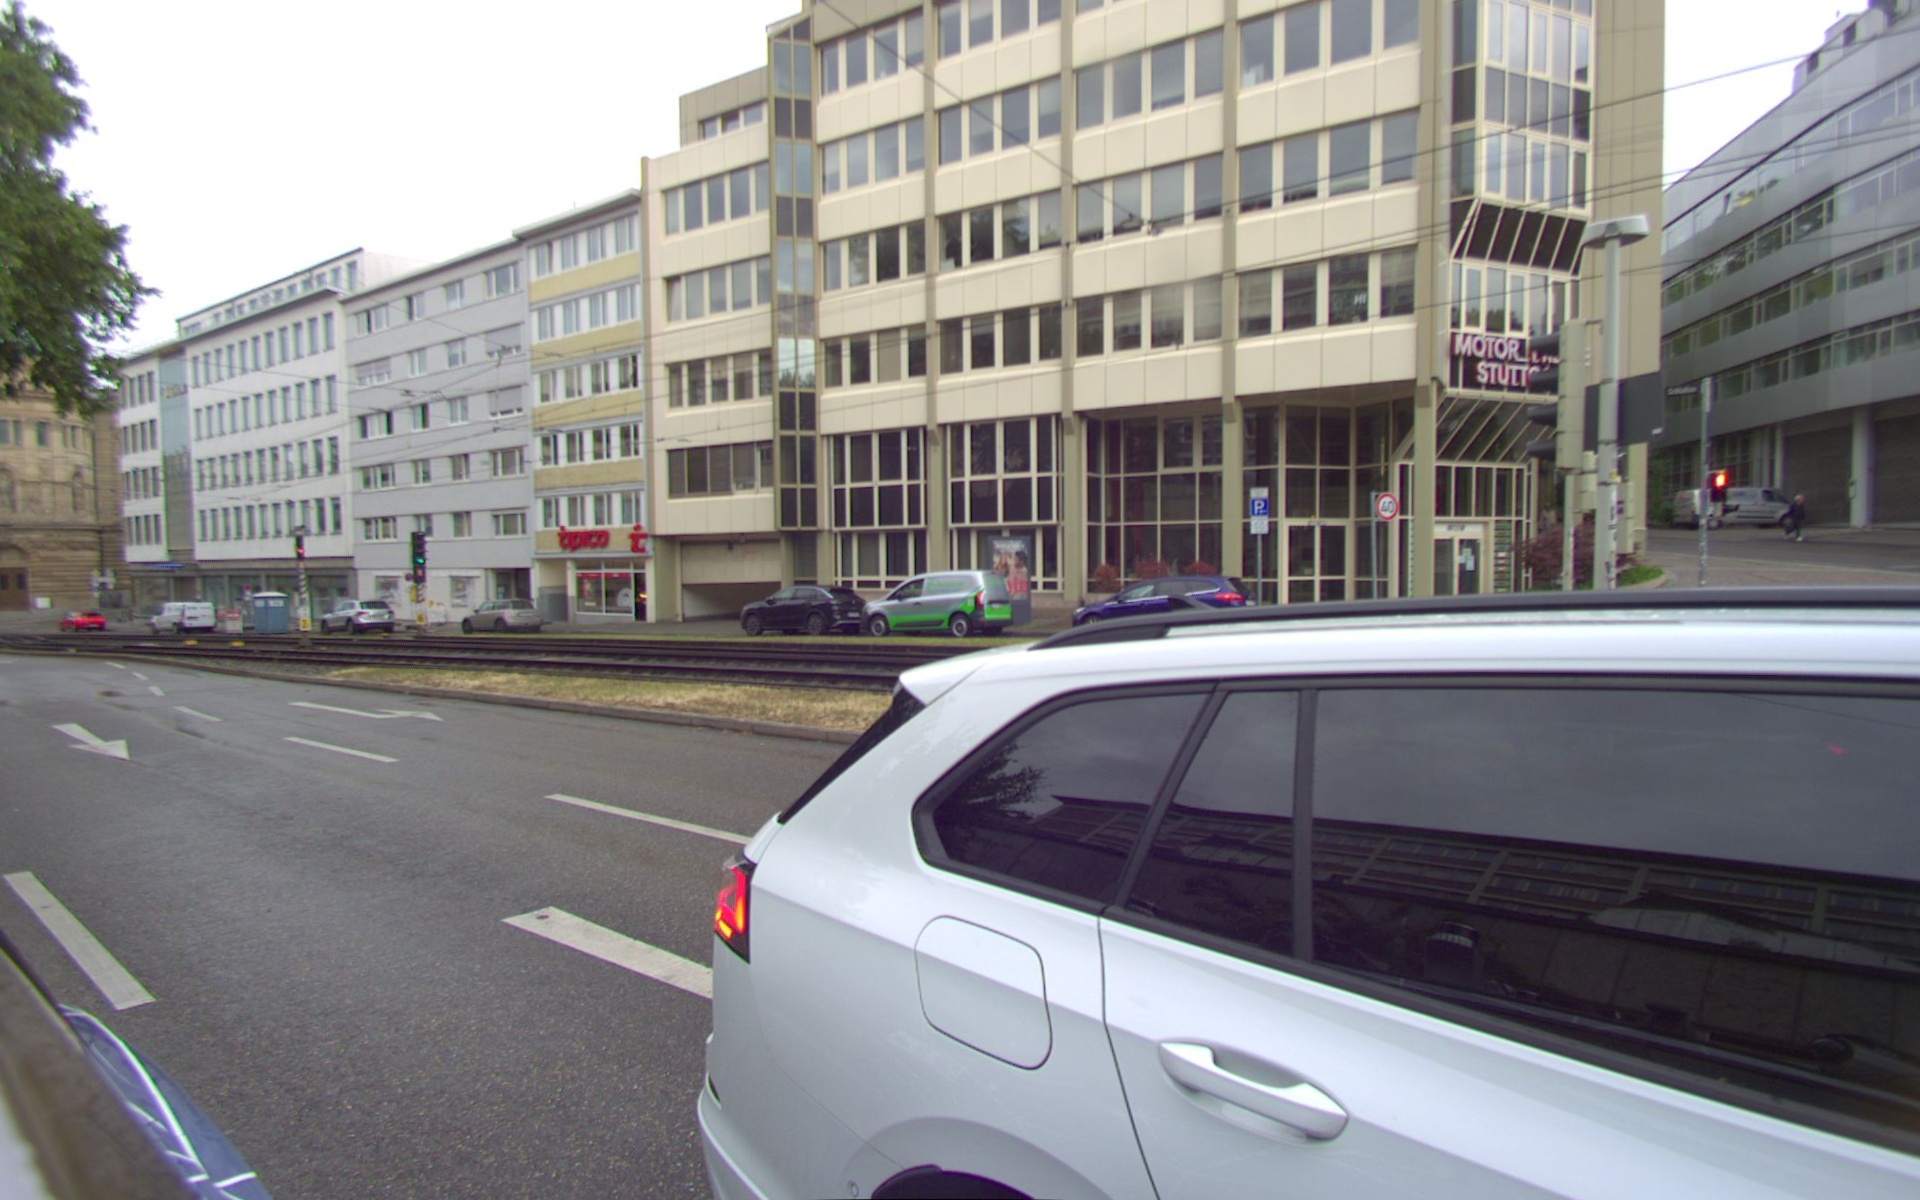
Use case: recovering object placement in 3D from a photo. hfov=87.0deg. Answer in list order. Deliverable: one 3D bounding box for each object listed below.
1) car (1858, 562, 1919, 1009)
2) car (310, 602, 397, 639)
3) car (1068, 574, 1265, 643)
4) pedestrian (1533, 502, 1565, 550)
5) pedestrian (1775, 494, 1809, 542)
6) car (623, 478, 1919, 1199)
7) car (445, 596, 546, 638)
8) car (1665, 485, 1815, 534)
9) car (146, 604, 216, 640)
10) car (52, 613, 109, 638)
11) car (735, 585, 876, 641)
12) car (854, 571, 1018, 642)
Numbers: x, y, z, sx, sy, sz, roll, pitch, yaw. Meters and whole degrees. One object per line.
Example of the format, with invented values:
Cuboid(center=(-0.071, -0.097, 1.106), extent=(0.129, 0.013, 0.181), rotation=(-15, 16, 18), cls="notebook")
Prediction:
Cuboid(center=(5.297, 0.575, 2.560), extent=(4.473, 1.453, 1.777), rotation=(-1, 0, 41), cls="car")
Cuboid(center=(-28.315, 0.947, 47.210), extent=(4.066, 1.524, 1.869), rotation=(-1, 3, 34), cls="car")
Cuboid(center=(4.813, 0.192, 23.852), extent=(4.207, 1.488, 1.780), rotation=(-1, 0, 35), cls="car")
Cuboid(center=(22.895, -2.866, 39.349), extent=(0.821, 1.800, 0.759), rotation=(-2, 3, 6), cls="pedestrian")
Cuboid(center=(33.655, -3.315, 40.960), extent=(0.711, 1.874, 0.847), rotation=(-2, 3, 6), cls="pedestrian")
Cuboid(center=(1.608, 0.624, 1.163), extent=(4.473, 1.453, 1.777), rotation=(-1, 0, 41), cls="car")
Cuboid(center=(-18.718, 0.664, 40.708), extent=(4.066, 1.524, 1.782), rotation=(-1, 3, 34), cls="car")
Cuboid(center=(37.622, -4.350, 48.940), extent=(5.357, 2.029, 1.993), rotation=(-1, 0, 12), cls="car")
Cuboid(center=(-46.555, 1.287, 60.452), extent=(4.465, 1.949, 1.869), rotation=(-1, 3, 34), cls="car")
Cuboid(center=(-62.213, 1.776, 71.557), extent=(4.465, 1.636, 1.869), rotation=(-1, 3, 34), cls="car")
Cuboid(center=(-4.720, 0.378, 30.756), extent=(4.066, 1.524, 1.782), rotation=(-1, 3, 34), cls="car")
Cuboid(center=(-0.679, 0.169, 27.866), extent=(4.204, 1.759, 1.782), rotation=(-1, 2, 33), cls="car")
